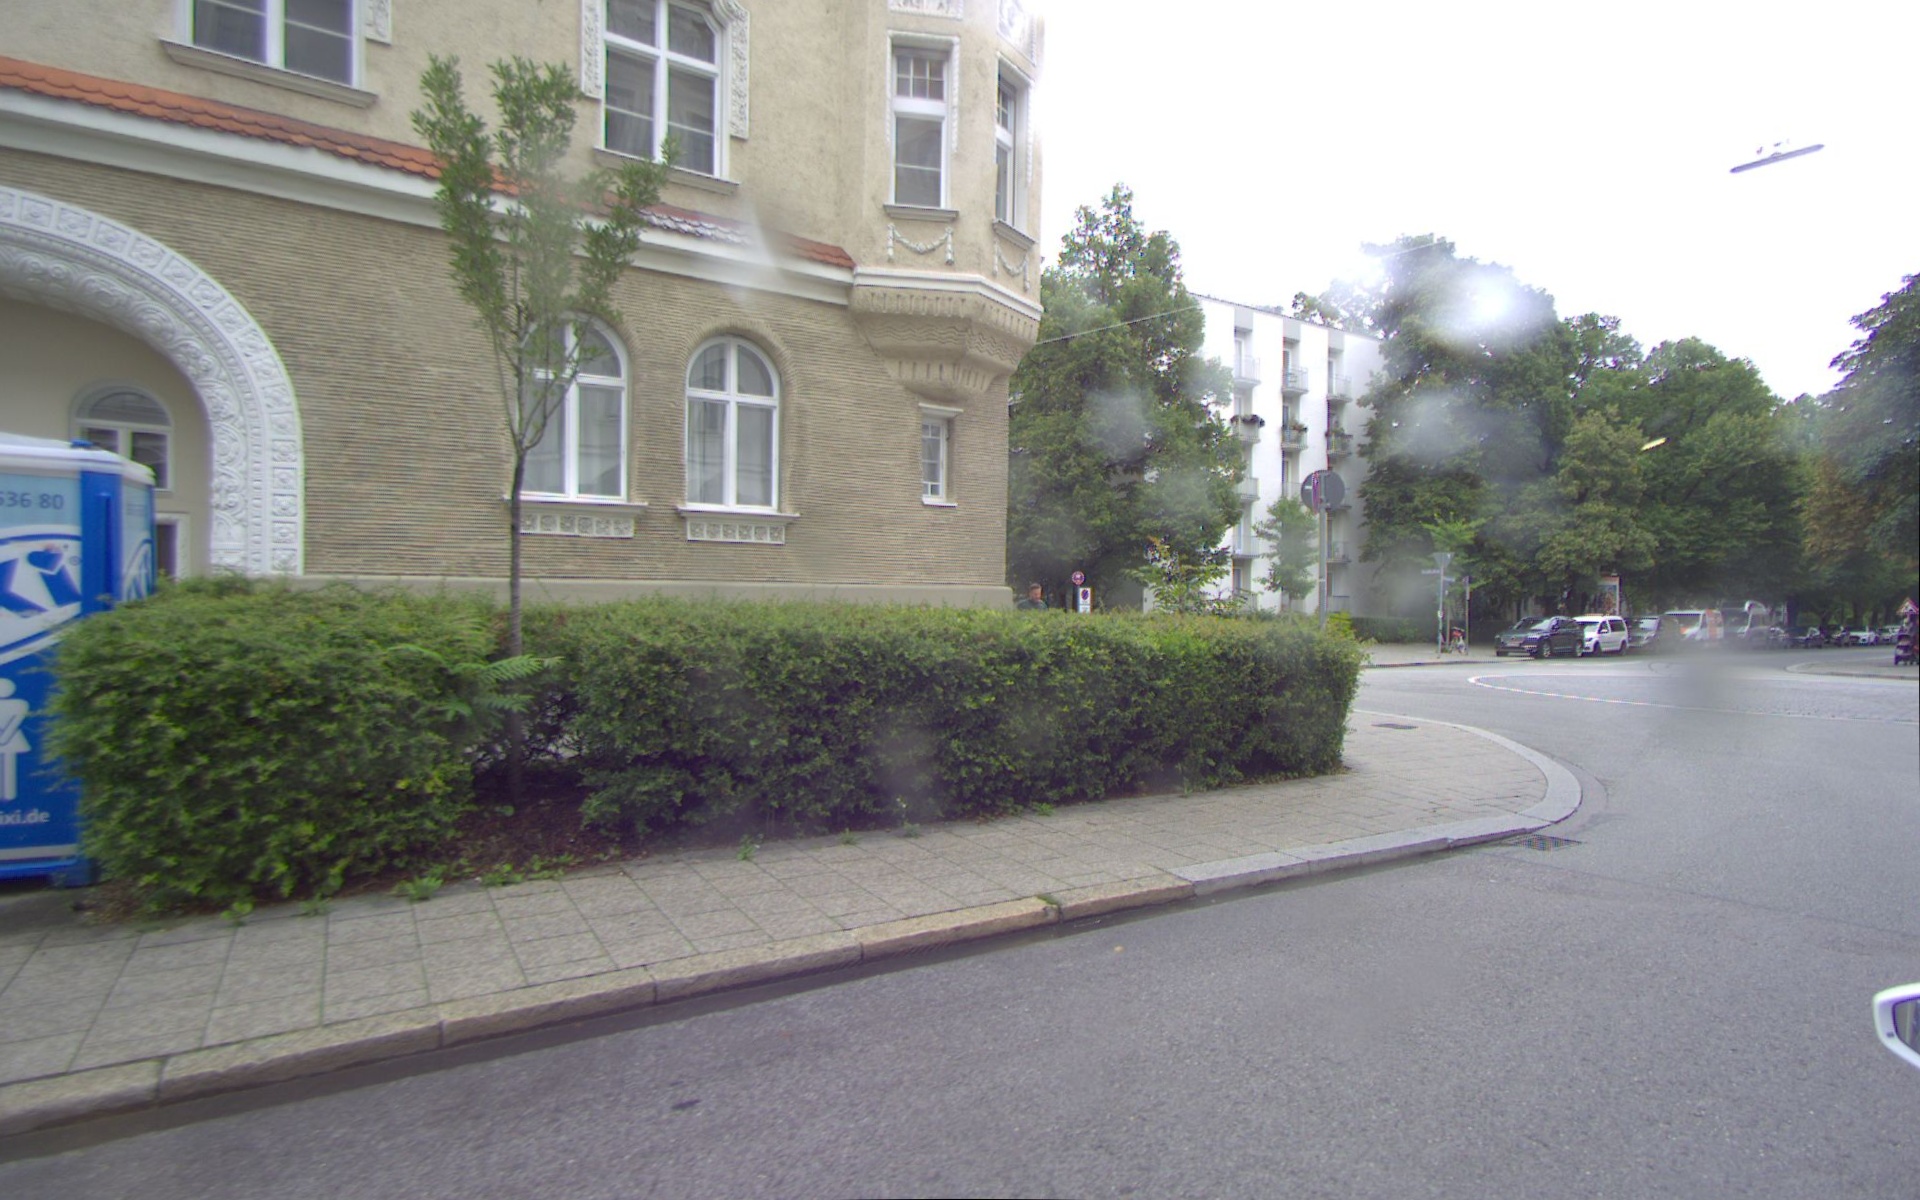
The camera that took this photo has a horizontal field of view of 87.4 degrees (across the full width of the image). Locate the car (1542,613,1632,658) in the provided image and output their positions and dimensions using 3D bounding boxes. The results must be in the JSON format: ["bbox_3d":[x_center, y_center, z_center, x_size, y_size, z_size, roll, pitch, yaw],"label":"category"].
[{"bbox_3d":[28.455,1.570,45.534,4.823,1.920,1.912,1,-1,-37],"label":"car"}]

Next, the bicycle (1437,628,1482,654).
[{"bbox_3d":[21.425,1.760,43.096,1.952,1.065,0.905,2,-1,-35],"label":"bicycle"}]

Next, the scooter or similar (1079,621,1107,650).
[{"bbox_3d":[4.765,1.264,35.972,0.374,1.039,1.134,0,-1,45],"label":"scooter or similar"}]

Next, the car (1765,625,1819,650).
[{"bbox_3d":[55.064,2.463,66.430,4.036,1.558,1.882,1,-1,-37],"label":"car"}]

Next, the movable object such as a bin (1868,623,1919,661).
[{"bbox_3d":[32.747,1.471,35.123,1.071,1.284,1.076,1,-3,-23],"label":"movable object such as a bin"}]

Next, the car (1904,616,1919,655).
[{"bbox_3d":[49.457,1.803,50.906,4.413,1.948,2.023,1,-1,-42],"label":"car"}]

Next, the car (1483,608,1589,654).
[{"bbox_3d":[24.226,1.292,42.188,4.860,1.790,2.051,1,-1,-36],"label":"car"}]

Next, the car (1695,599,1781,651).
[{"bbox_3d":[46.462,1.467,59.923,6.515,2.961,2.319,1,-1,-36],"label":"car"}]

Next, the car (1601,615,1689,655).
[{"bbox_3d":[33.738,1.696,49.448,4.938,1.883,2.051,1,-1,-36],"label":"car"}]

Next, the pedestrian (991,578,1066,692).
[{"bbox_3d":[1.134,0.567,16.837,0.878,1.834,1.051,0,-1,-23],"label":"pedestrian"}]

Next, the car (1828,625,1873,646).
[{"bbox_3d":[70.101,2.753,79.036,4.036,1.592,1.882,1,-1,-37],"label":"car"}]

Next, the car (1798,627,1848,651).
[{"bbox_3d":[61.684,2.761,71.761,4.036,1.592,1.882,1,-1,-37],"label":"car"}]

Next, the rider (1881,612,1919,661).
[{"bbox_3d":[33.529,1.282,35.471,1.123,1.689,1.080,1,-3,-23],"label":"rider"}]

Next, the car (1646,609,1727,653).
[{"bbox_3d":[39.173,1.654,54.130,5.145,2.281,2.096,1,-1,-36],"label":"car"}]
